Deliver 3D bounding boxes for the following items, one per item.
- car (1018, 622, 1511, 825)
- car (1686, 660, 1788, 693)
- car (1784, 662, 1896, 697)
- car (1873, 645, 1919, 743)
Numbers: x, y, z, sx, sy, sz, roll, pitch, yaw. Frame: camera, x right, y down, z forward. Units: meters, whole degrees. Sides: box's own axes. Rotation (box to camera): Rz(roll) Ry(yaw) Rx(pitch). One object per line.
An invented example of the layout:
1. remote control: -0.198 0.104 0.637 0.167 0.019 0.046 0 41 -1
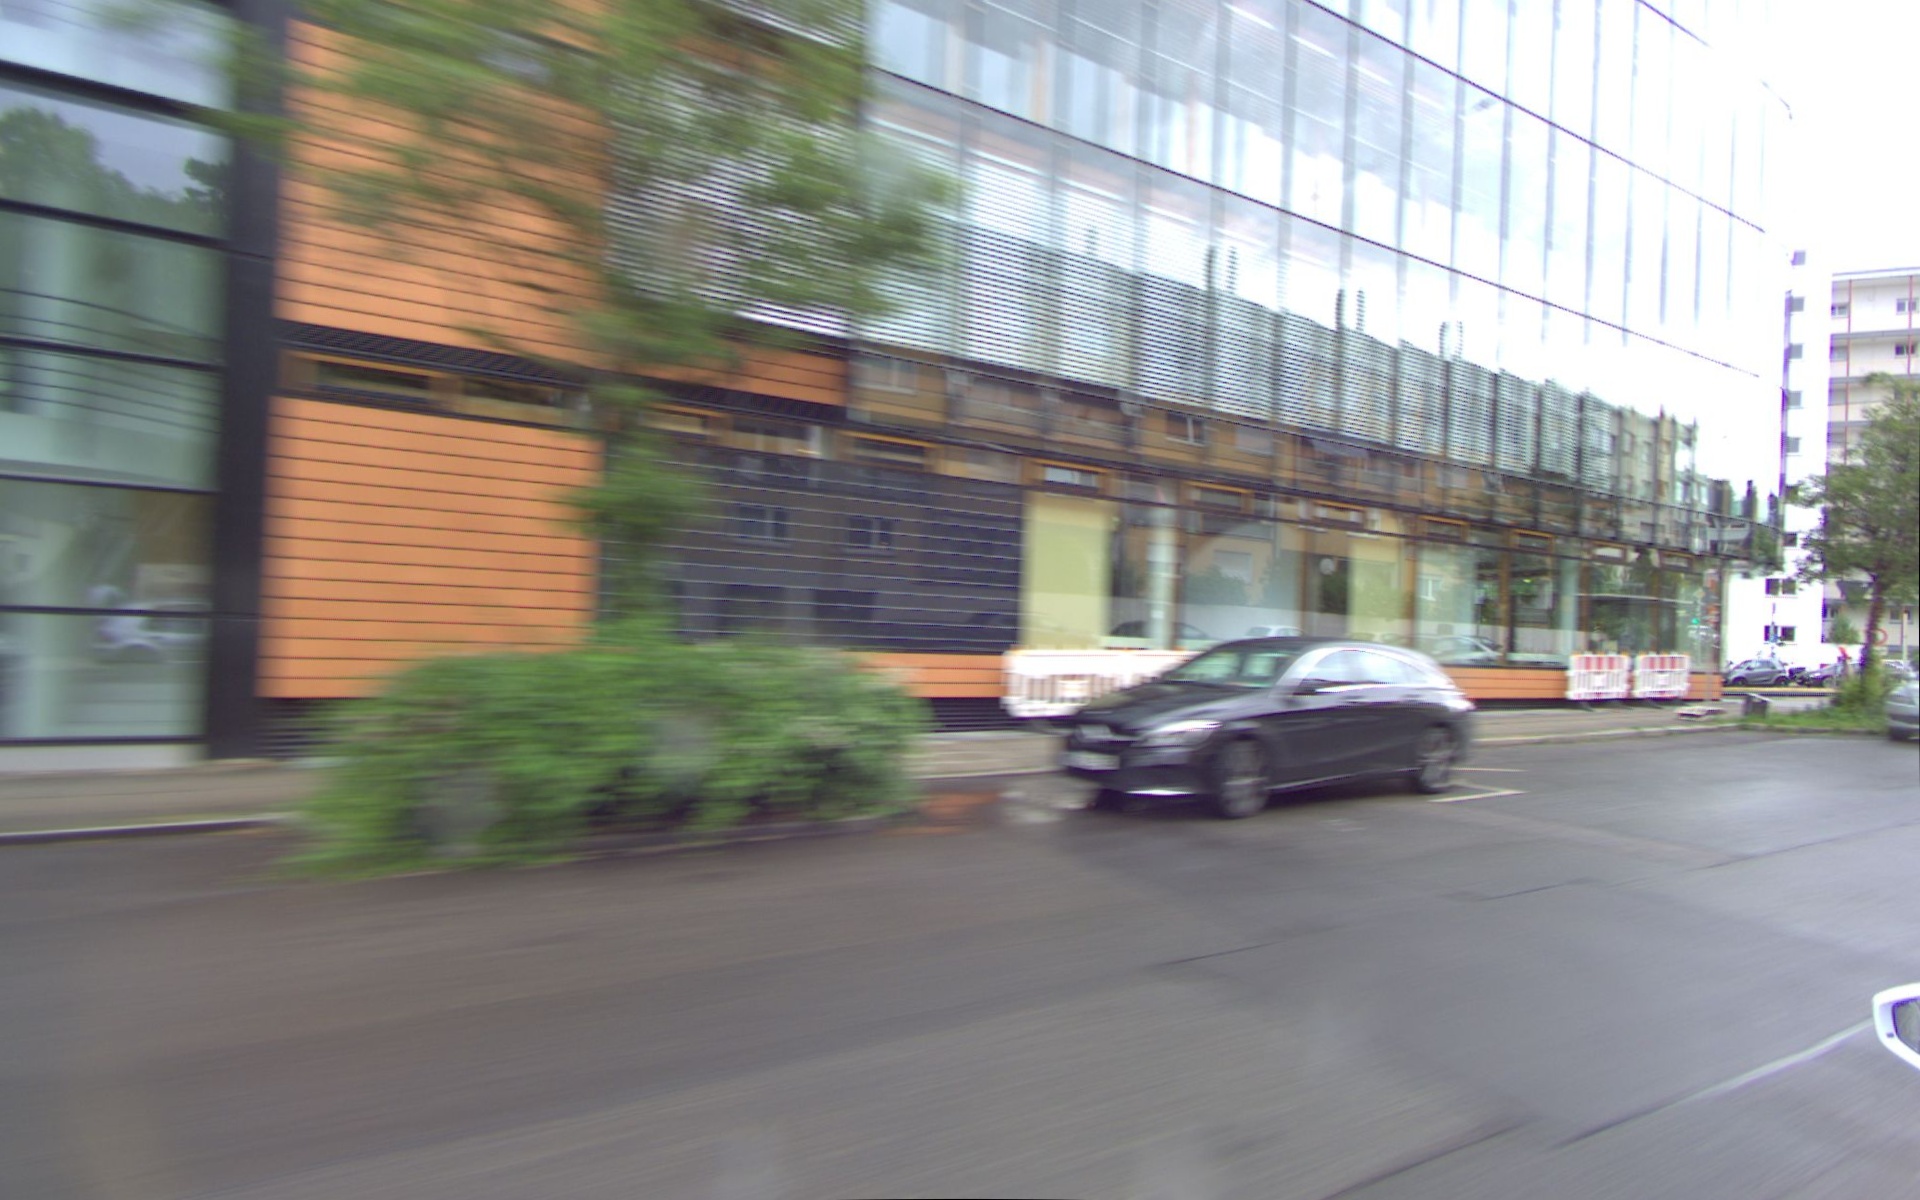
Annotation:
1. car: 2.938 1.028 9.297 4.607 1.469 1.793 3 -3 -32
2. car: 41.138 4.018 53.312 3.923 1.530 1.800 1 -1 23
3. car: 45.279 4.069 51.786 3.923 1.530 1.800 1 -1 23
4. car: 16.525 1.528 16.076 4.245 1.469 1.701 3 -3 -31
